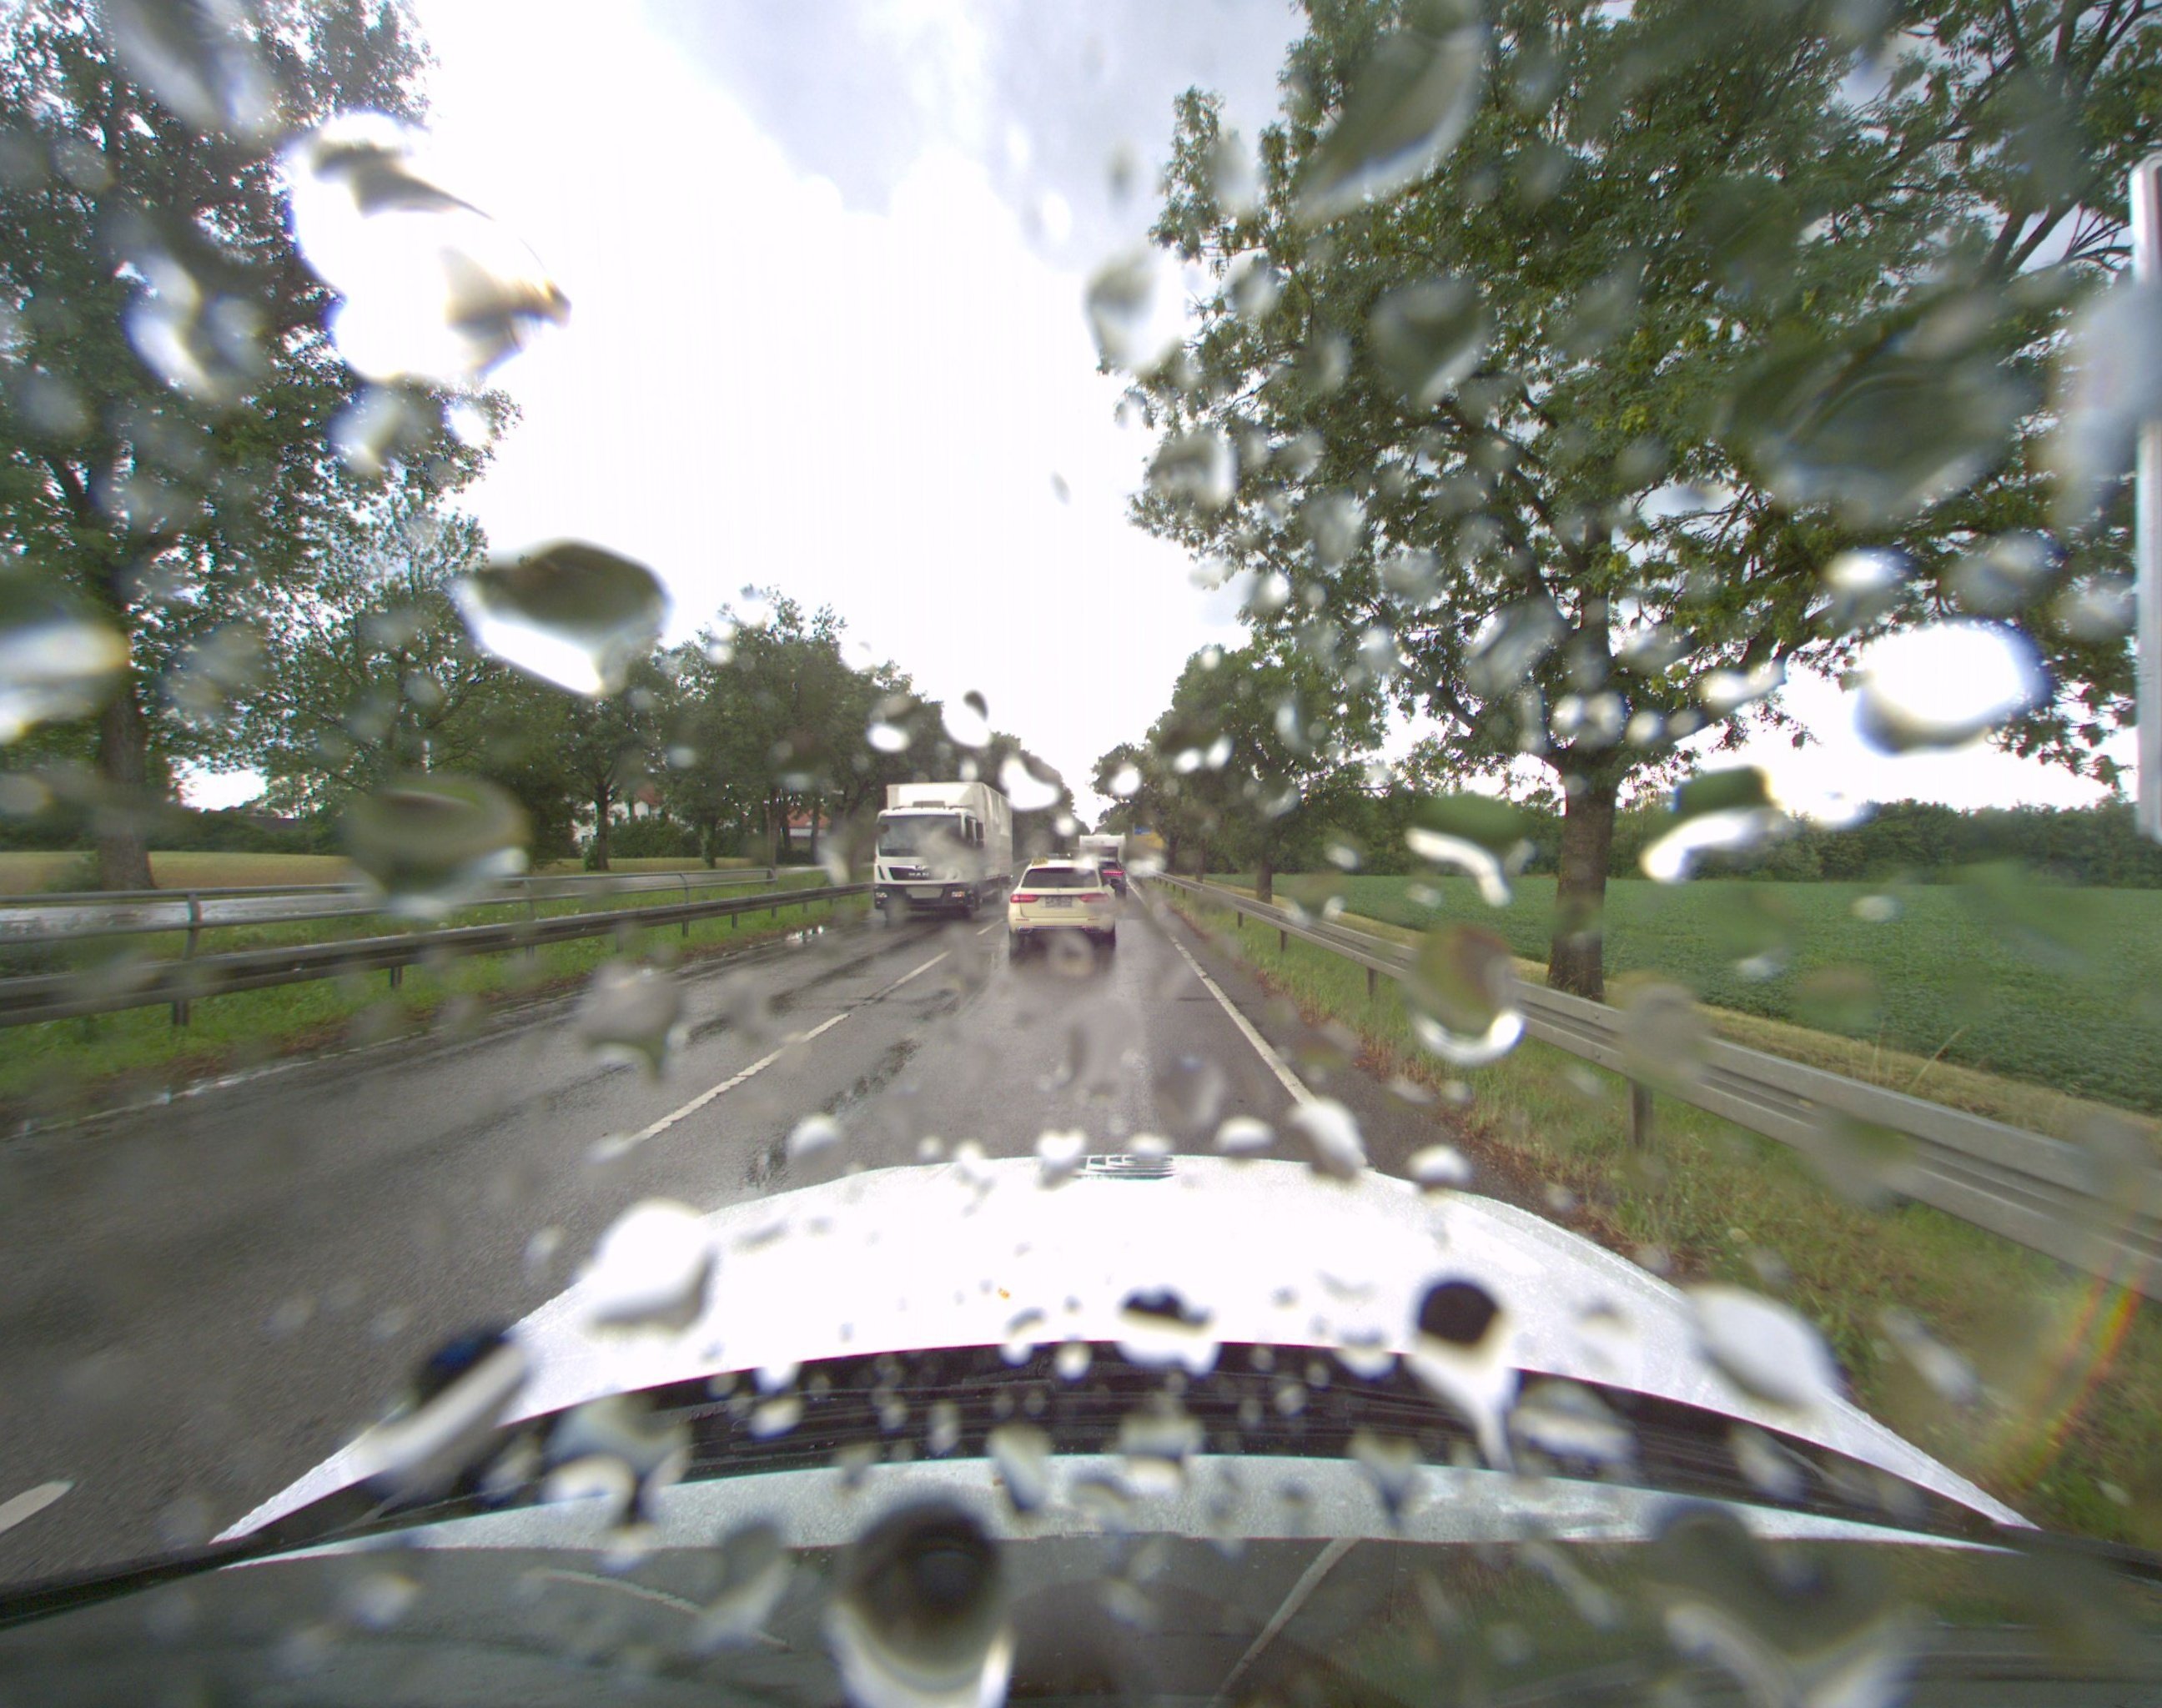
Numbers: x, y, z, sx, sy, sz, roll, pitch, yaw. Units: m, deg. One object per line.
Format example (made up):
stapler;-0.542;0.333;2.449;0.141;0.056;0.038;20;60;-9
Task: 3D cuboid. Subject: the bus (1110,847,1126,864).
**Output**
bus;4.607;0.195;101.885;1.986;2.013;4.001;-1;0;1

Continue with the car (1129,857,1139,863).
car;8.806;1.001;135.187;1.545;1.118;4.003;0;-1;3

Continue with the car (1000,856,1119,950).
car;-0.253;0.785;14.975;1.857;1.476;4.003;-1;0;3

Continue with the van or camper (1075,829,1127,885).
van or camper;1.117;0.135;42.234;2.479;2.685;5.704;0;0;3

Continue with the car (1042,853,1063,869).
car;-2.653;0.622;76.505;1.708;1.451;4.112;-1;0;1

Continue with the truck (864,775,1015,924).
truck;-3.722;-0.116;23.956;2.567;3.452;9.556;-1;0;1

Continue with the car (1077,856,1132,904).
car;0.831;0.814;27.189;1.657;1.430;4.003;-1;0;3

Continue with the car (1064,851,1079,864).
car;-1.330;0.463;112.451;1.821;1.803;4.416;-1;0;1
